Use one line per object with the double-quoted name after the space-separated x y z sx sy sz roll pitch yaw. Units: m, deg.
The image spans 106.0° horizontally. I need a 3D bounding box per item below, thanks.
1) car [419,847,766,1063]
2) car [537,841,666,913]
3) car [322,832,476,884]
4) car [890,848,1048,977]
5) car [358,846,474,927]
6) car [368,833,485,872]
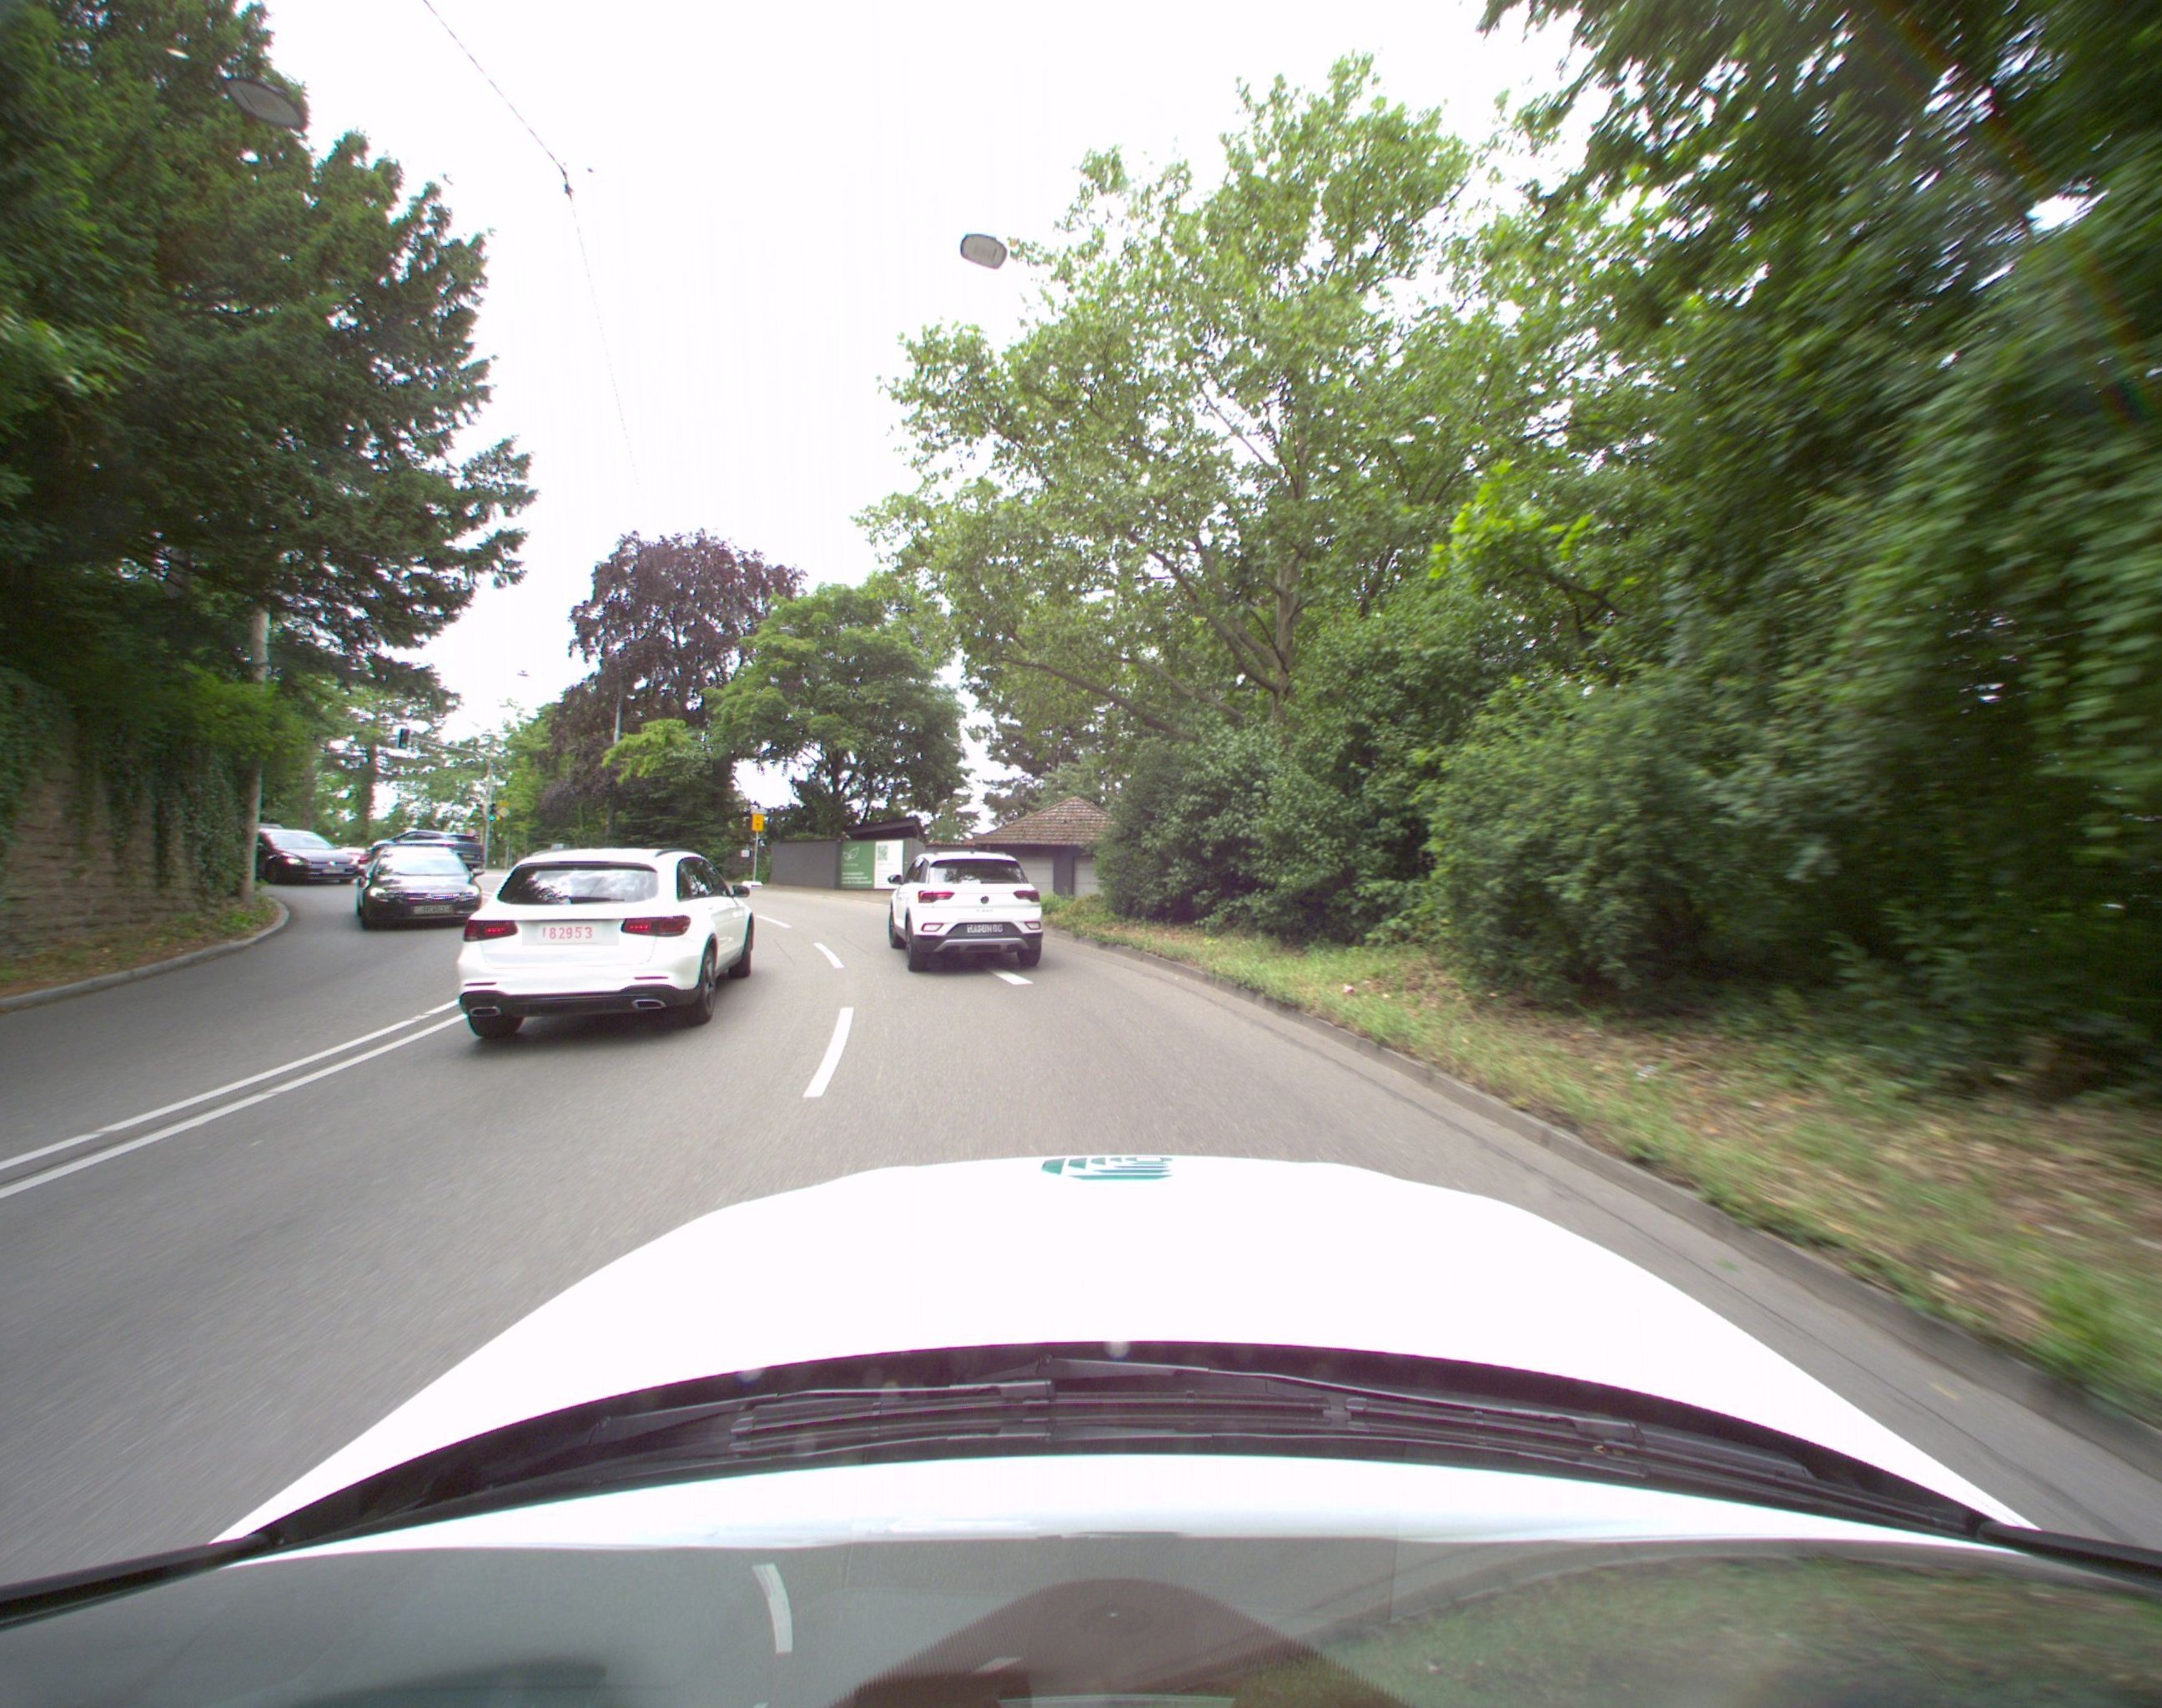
-4.662 0.755 8.666 1.861 1.605 4.648 -1 0 -14 "car"
-12.703 0.525 21.427 1.881 1.534 4.719 1 1 -44 "car"
-21.476 0.083 25.686 3.956 1.443 1.815 2 1 16 "car"
-1.865 0.699 12.270 1.758 1.552 4.314 -1 1 -16 "car"
-13.649 0.571 16.858 1.671 1.440 4.247 -1 1 -38 "car"
-26.572 -0.062 33.077 3.816 1.419 1.639 2 0 13 "car"
